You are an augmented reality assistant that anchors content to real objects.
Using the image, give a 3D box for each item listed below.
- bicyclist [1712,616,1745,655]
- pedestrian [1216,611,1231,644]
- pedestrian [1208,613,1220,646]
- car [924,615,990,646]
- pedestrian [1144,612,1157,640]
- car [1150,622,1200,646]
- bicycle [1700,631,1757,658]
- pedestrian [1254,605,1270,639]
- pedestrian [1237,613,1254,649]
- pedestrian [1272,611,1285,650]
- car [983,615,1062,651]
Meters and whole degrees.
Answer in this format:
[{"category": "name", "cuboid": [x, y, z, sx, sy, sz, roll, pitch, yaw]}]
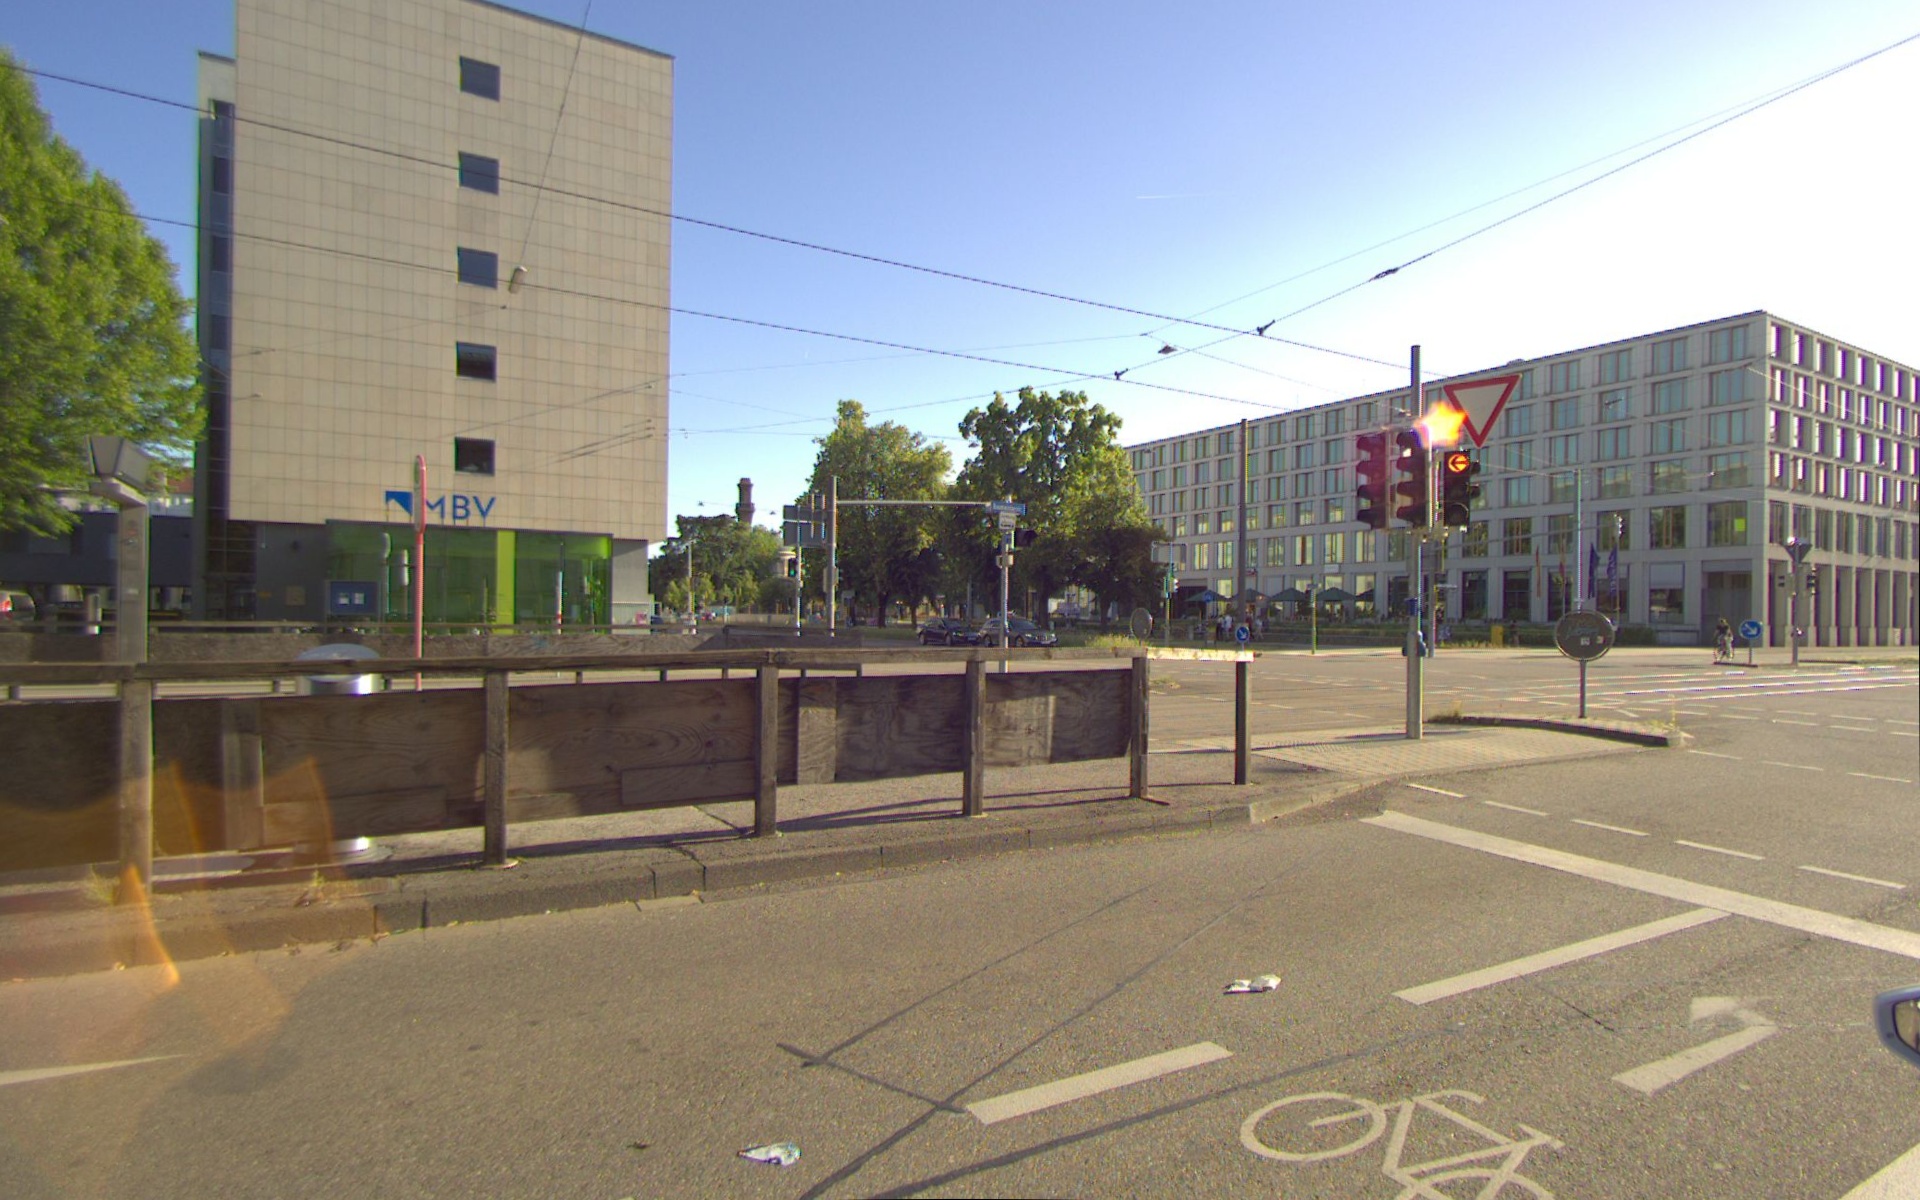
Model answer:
[{"category": "bicyclist", "cuboid": [33.180, 1.543, 43.379, 0.812, 1.663, 0.872, 1, -1, -29]}, {"category": "pedestrian", "cuboid": [16.215, 1.682, 61.807, 0.793, 2.040, 0.526, 1, -1, -36]}, {"category": "pedestrian", "cuboid": [15.543, 1.812, 61.432, 0.483, 2.040, 0.493, 1, -1, -17]}, {"category": "car", "cuboid": [-0.207, 1.587, 53.450, 1.801, 1.595, 3.967, 0, 0, -31]}, {"category": "pedestrian", "cuboid": [12.826, 1.745, 67.626, 0.672, 1.928, 0.560, 1, -1, -21]}, {"category": "car", "cuboid": [13.548, 2.113, 63.423, 1.453, 1.457, 3.172, 1, -1, -28]}, {"category": "bicycle", "cuboid": [33.223, 1.902, 43.424, 2.976, 1.136, 0.871, 1, -1, -29]}, {"category": "pedestrian", "cuboid": [18.338, 1.352, 60.947, 0.793, 2.040, 0.526, 1, -1, -36]}, {"category": "pedestrian", "cuboid": [17.270, 1.866, 60.786, 0.644, 2.095, 0.645, 6, -4, -36]}, {"category": "pedestrian", "cuboid": [19.262, 1.832, 60.726, 0.528, 2.310, 0.565, 1, -1, -36]}, {"category": "car", "cuboid": [2.895, 1.547, 47.536, 1.708, 1.595, 4.140, 1, -1, -31]}]
